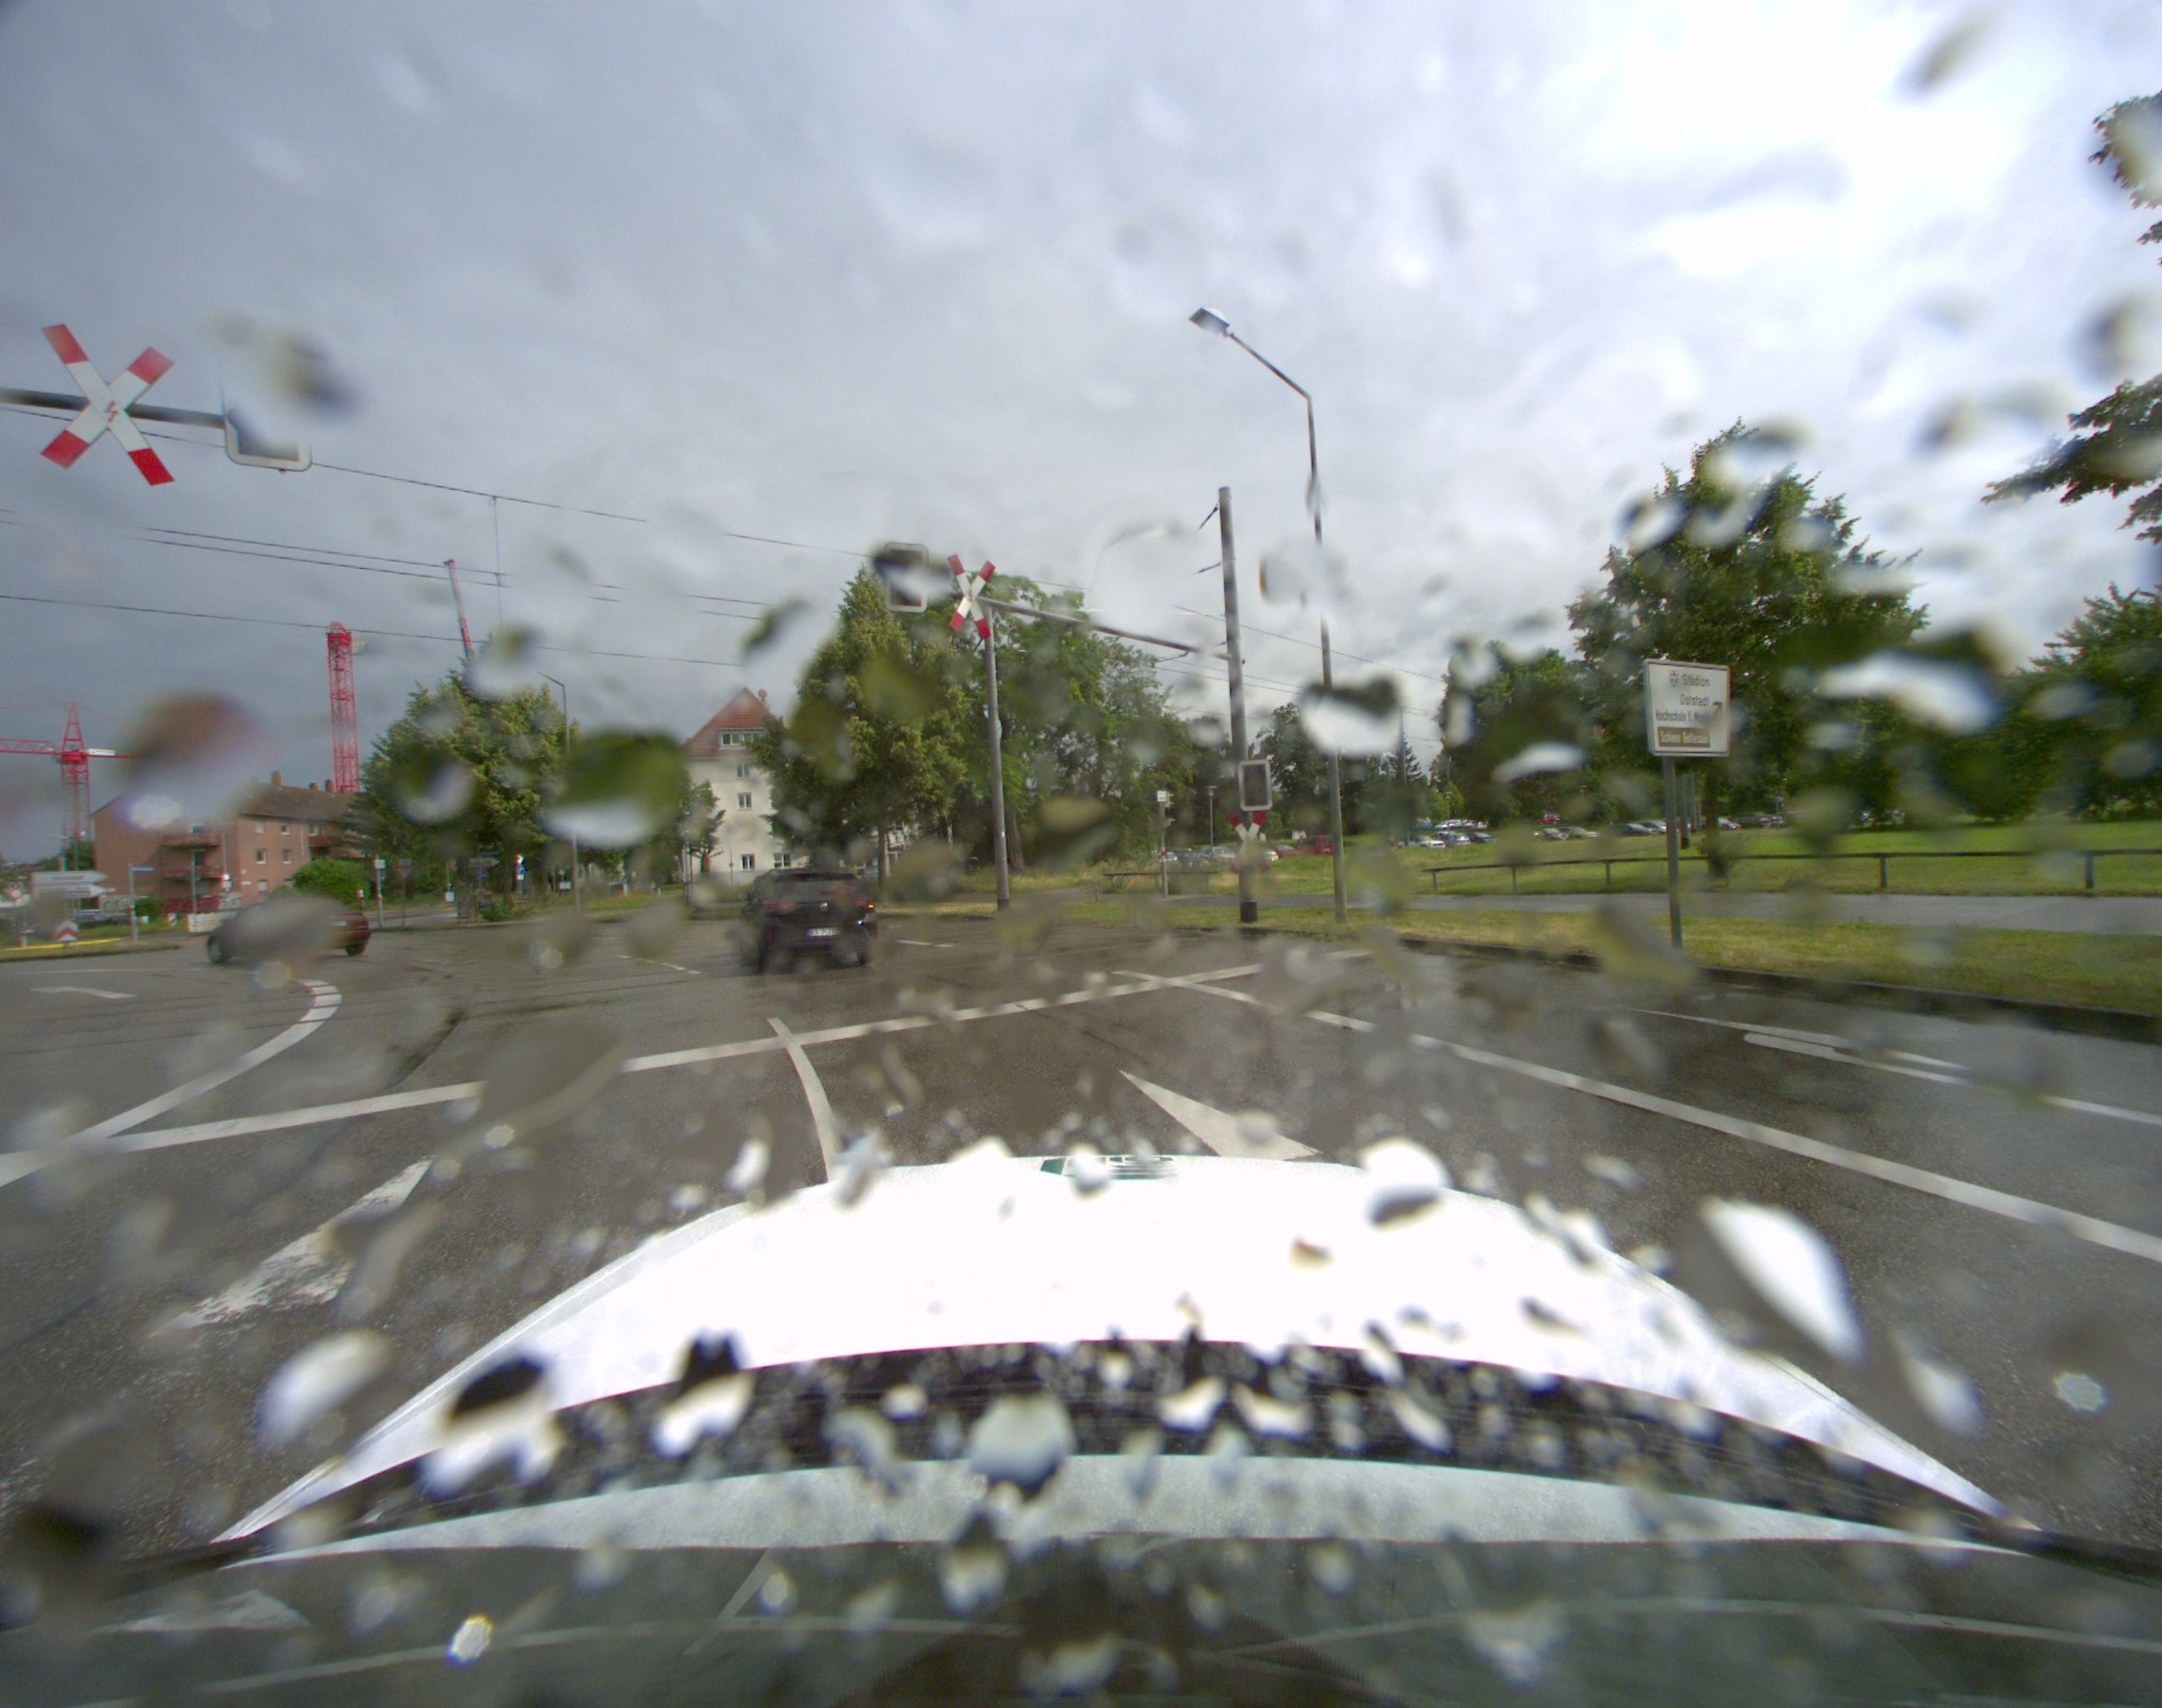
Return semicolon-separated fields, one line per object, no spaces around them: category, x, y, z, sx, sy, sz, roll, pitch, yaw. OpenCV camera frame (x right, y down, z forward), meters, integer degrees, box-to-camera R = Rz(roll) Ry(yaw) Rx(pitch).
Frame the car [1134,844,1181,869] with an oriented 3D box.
car;5.233;0.223;56.222;1.848;1.559;3.957;-3;0;-16

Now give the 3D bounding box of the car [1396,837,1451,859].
car;26.527;-0.447;63.234;1.797;1.527;3.978;-3;0;-16

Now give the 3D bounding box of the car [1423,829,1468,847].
car;35.079;-1.535;78.475;1.797;1.527;3.978;-3;0;-16

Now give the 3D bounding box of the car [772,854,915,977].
car;-4.080;0.911;13.869;1.903;1.617;3.975;-5;1;-18

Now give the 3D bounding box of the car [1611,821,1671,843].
car;47.657;-1.834;69.401;1.848;1.559;3.957;-3;0;-16

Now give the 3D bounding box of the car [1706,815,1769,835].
car;58.313;-2.557;72.434;1.848;1.559;3.957;-3;0;-16

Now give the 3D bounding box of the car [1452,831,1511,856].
car;31.648;-0.808;64.463;1.997;1.714;3.980;-3;0;-15

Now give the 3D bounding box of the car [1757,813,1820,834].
car;64.639;-2.771;74.489;1.848;1.559;3.957;-3;0;-16

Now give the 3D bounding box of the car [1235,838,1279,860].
car;12.611;-0.350;58.512;1.642;1.461;3.594;-3;0;-13

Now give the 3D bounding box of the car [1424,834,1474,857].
car;28.809;-0.632;63.829;1.549;1.660;3.609;-3;0;-16

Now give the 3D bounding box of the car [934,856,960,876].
car;-10.571;0.902;64.159;1.661;1.345;3.564;-3;3;-14

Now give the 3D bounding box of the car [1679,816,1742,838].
car;55.013;-2.337;71.261;1.848;1.559;3.957;-3;0;-16

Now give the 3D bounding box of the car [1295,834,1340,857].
car;17.416;-0.612;60.079;1.645;1.510;3.637;-4;0;-10

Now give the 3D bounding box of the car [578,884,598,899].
car;-57.860;4.375;95.615;1.552;1.454;3.472;-4;1;-24

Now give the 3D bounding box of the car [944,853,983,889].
car;-7.758;1.059;53.406;2.108;2.057;5.140;-4;1;-12

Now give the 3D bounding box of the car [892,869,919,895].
car;-11.262;1.777;52.184;1.605;1.510;3.604;-3;0;-13

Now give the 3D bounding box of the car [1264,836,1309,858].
car;14.963;-0.519;59.477;1.642;1.461;3.594;-3;0;-13

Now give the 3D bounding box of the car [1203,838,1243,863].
car;10.156;-0.255;58.531;1.546;1.659;3.635;-3;0;-12

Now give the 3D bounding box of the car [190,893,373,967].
car;-18.999;1.807;19.338;3.950;1.462;1.730;-4;1;25

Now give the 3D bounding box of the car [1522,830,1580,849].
car;38.502;-1.186;66.803;1.848;1.308;3.957;-3;0;-16

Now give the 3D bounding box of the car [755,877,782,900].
car;-23.209;2.559;60.576;1.676;1.482;3.715;-4;1;-19

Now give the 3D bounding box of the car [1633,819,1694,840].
car;50.864;-2.150;71.186;1.848;1.559;3.957;-3;0;-16

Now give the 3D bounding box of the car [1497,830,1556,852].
car;35.953;-1.048;65.820;1.848;1.559;3.957;-3;0;-16

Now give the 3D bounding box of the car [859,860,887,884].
car;-15.996;1.364;62.531;1.851;1.552;4.082;-3;2;-17

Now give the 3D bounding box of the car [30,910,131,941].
car;-69.458;4.935;56.630;1.599;1.632;4.076;-4;0;16

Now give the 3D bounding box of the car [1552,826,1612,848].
car;41.256;-1.408;67.215;1.848;1.559;3.957;-3;0;-16
